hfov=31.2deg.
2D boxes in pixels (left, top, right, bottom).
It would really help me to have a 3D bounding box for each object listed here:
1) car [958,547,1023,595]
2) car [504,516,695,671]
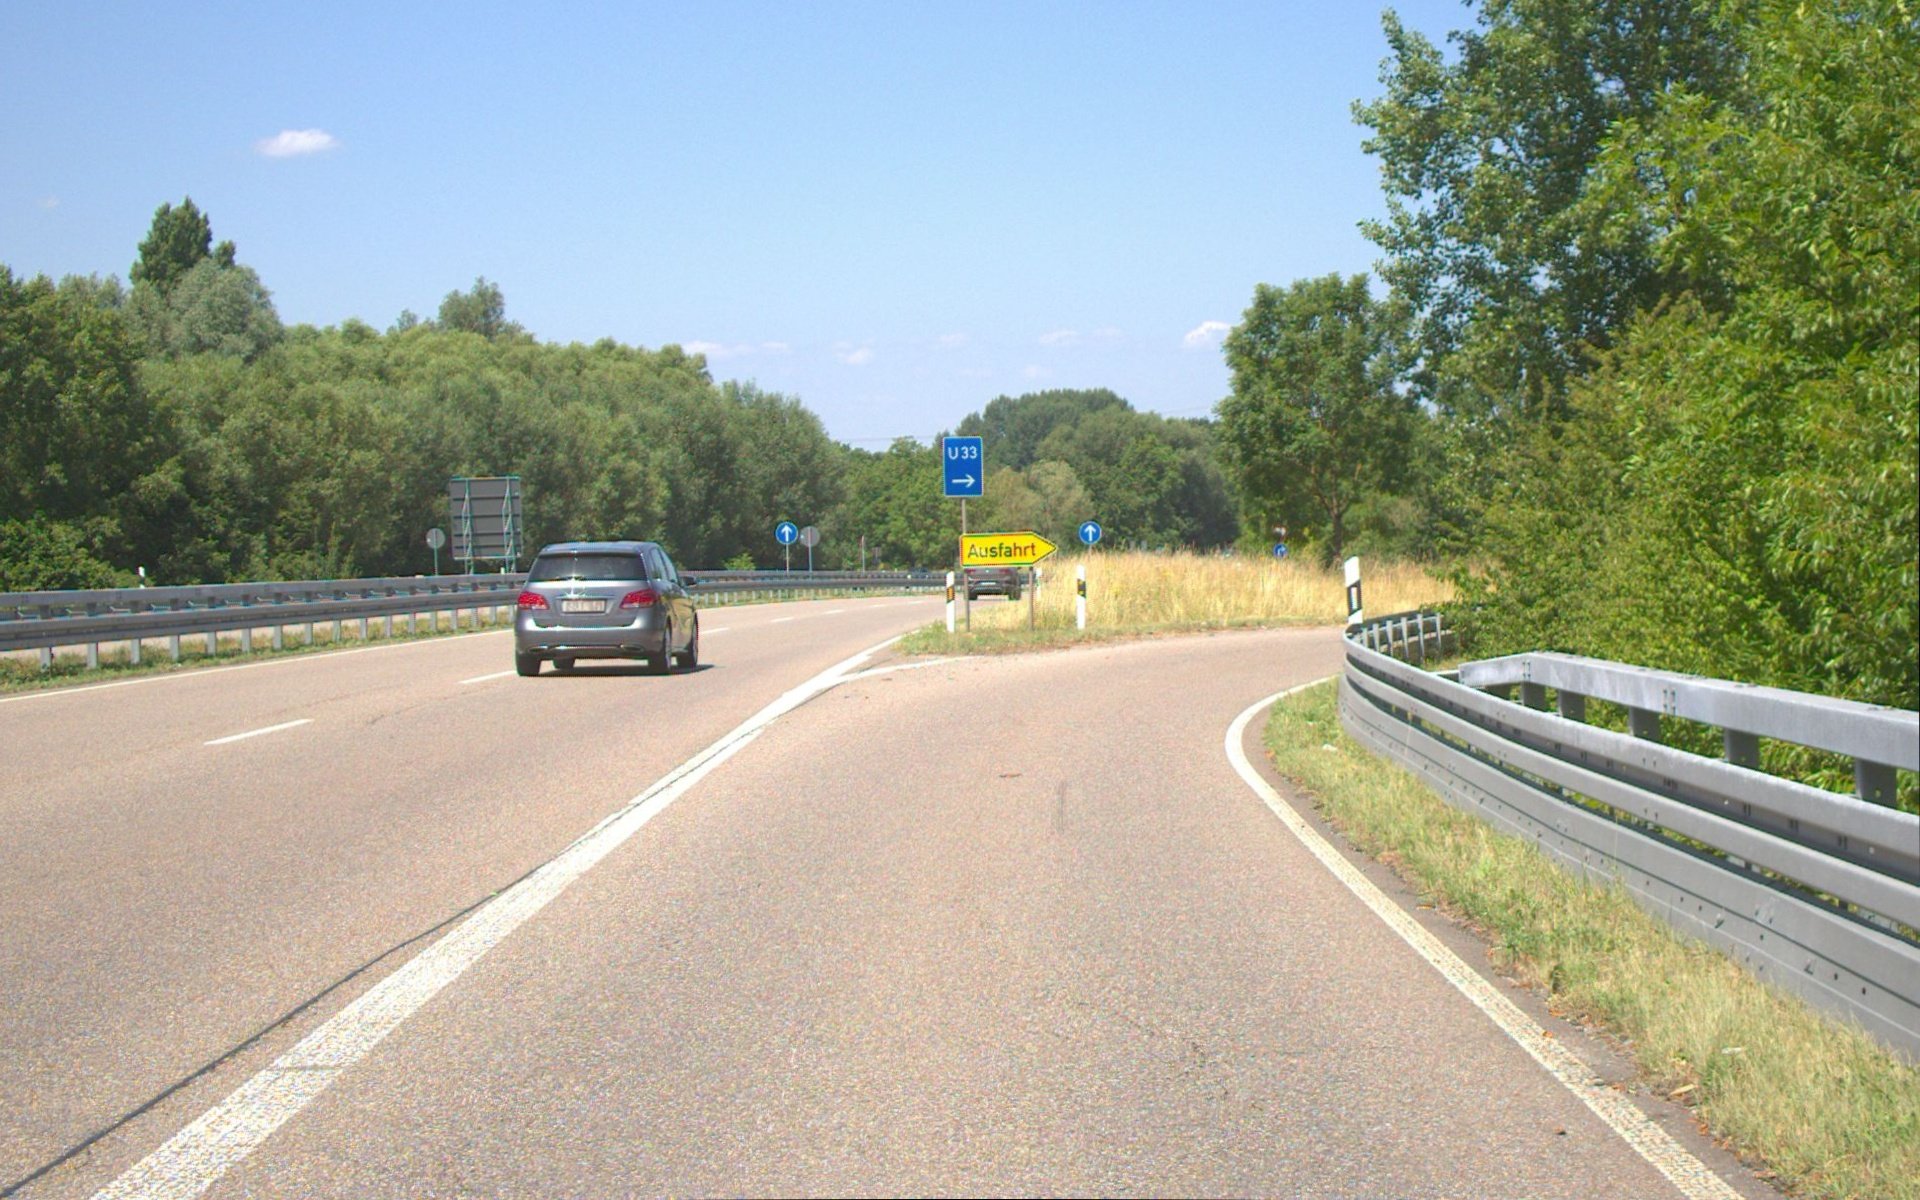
[{"bbox_3d":[1.080,-1.018,119.525,1.841,1.524,4.469,1,2,6],"label":"car"},{"bbox_3d":[-4.277,-0.127,41.358,1.793,1.662,4.555,1,2,0],"label":"car"}]
